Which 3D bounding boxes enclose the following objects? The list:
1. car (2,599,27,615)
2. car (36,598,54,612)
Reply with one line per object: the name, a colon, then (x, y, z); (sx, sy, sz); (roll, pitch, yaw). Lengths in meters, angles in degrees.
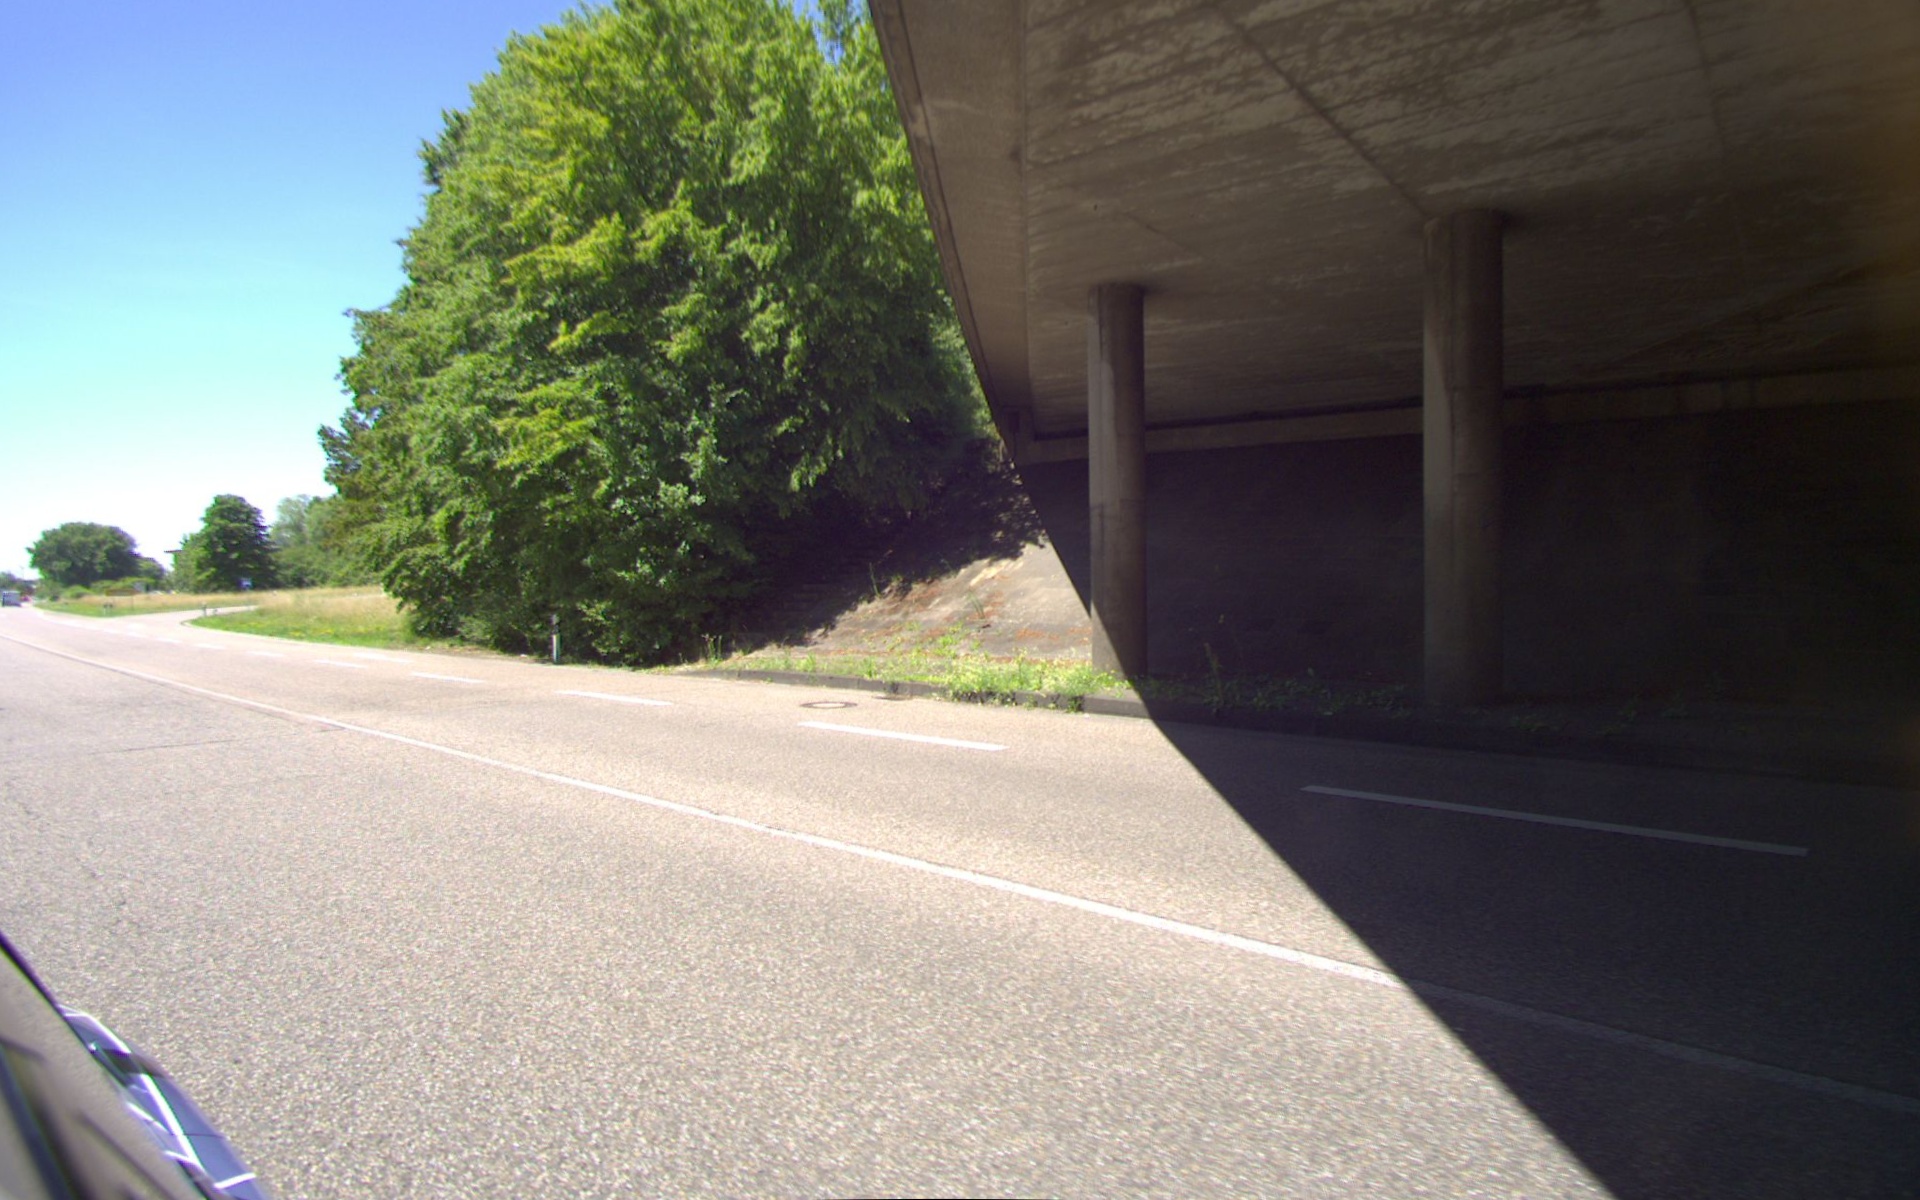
car: (-116.671, 0.894, 124.930); (1.968, 1.978, 4.007); (0, 0, -39)
car: (-132.610, 0.705, 146.671); (1.819, 2.029, 4.004); (0, 0, -44)
